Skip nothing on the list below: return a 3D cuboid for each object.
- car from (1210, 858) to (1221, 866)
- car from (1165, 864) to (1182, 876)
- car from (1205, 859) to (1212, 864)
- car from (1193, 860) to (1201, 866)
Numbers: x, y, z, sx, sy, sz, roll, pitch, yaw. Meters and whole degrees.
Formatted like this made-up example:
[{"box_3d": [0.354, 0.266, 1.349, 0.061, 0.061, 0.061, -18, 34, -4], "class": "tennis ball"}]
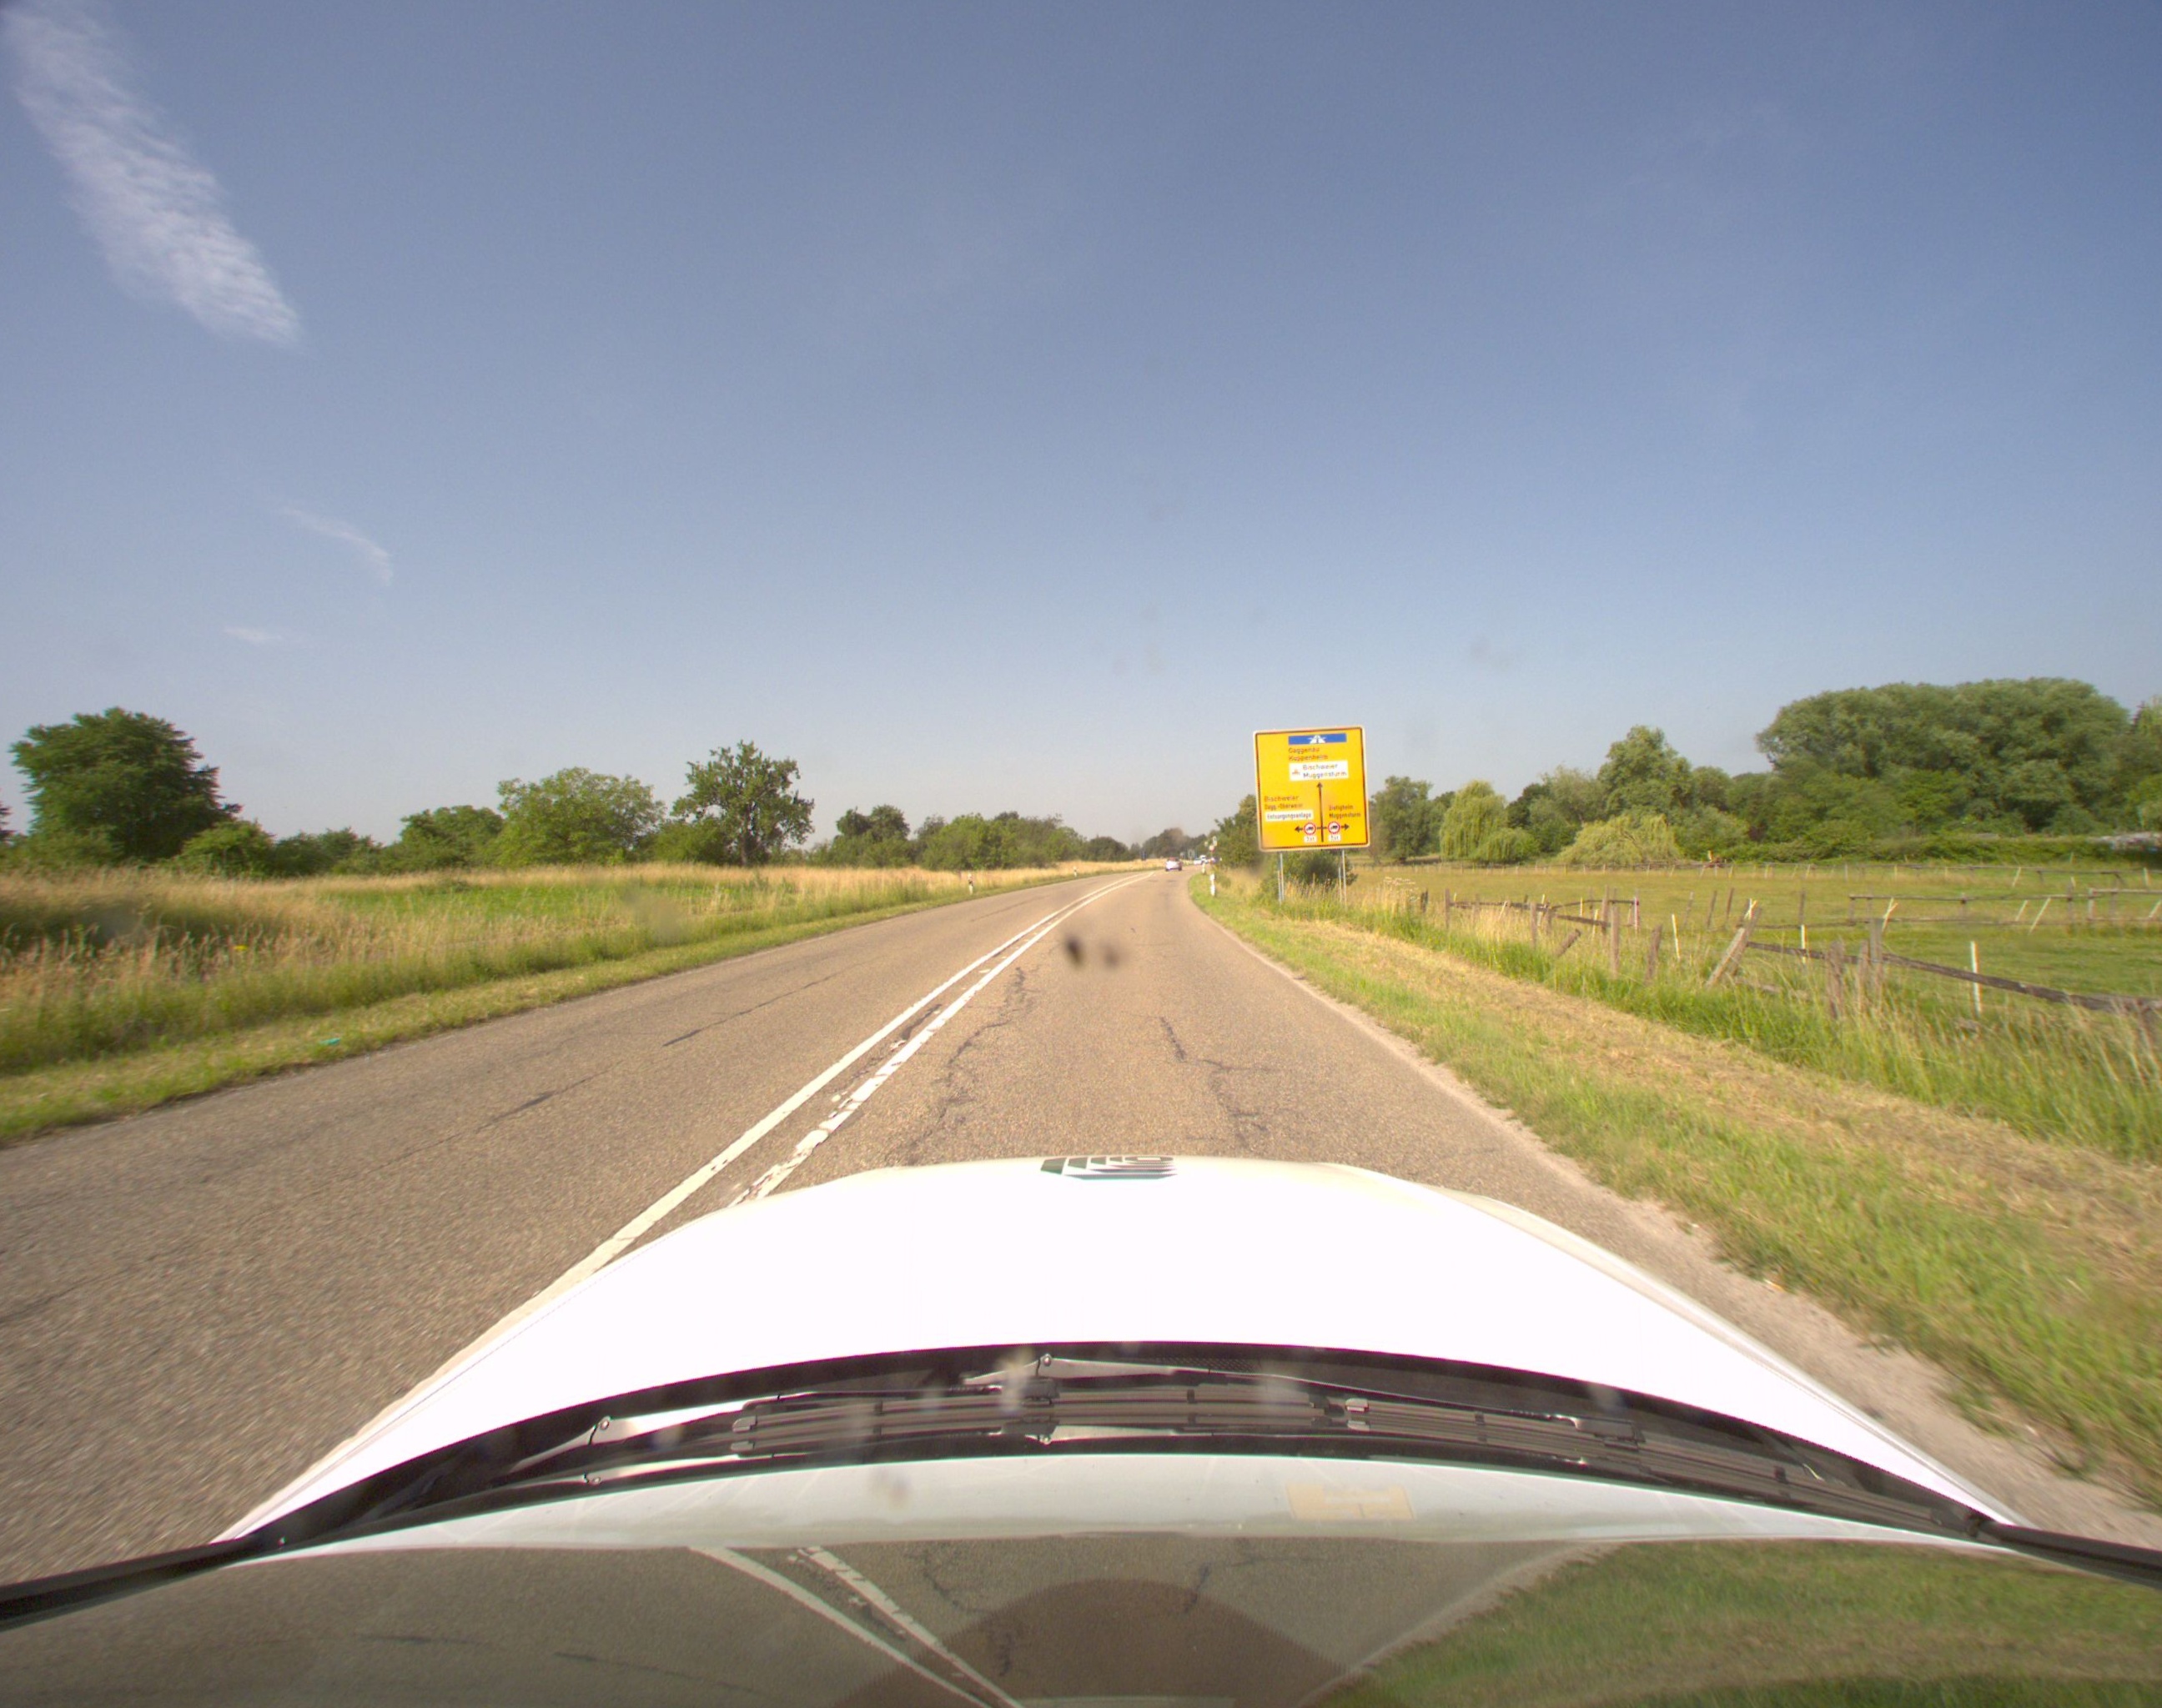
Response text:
[{"box_3d": [25.953, 1.526, 156.780, 1.803, 1.520, 4.014, -2, -1, 13], "class": "car"}, {"box_3d": [11.240, 1.920, 98.902, 1.888, 1.512, 4.009, 0, -1, 9], "class": "car"}, {"box_3d": [40.188, 2.408, 255.967, 1.823, 1.694, 3.873, -1, -1, 13], "class": "car"}, {"box_3d": [27.863, 2.192, 195.838, 1.802, 1.585, 4.234, 0, -1, 8], "class": "car"}]
